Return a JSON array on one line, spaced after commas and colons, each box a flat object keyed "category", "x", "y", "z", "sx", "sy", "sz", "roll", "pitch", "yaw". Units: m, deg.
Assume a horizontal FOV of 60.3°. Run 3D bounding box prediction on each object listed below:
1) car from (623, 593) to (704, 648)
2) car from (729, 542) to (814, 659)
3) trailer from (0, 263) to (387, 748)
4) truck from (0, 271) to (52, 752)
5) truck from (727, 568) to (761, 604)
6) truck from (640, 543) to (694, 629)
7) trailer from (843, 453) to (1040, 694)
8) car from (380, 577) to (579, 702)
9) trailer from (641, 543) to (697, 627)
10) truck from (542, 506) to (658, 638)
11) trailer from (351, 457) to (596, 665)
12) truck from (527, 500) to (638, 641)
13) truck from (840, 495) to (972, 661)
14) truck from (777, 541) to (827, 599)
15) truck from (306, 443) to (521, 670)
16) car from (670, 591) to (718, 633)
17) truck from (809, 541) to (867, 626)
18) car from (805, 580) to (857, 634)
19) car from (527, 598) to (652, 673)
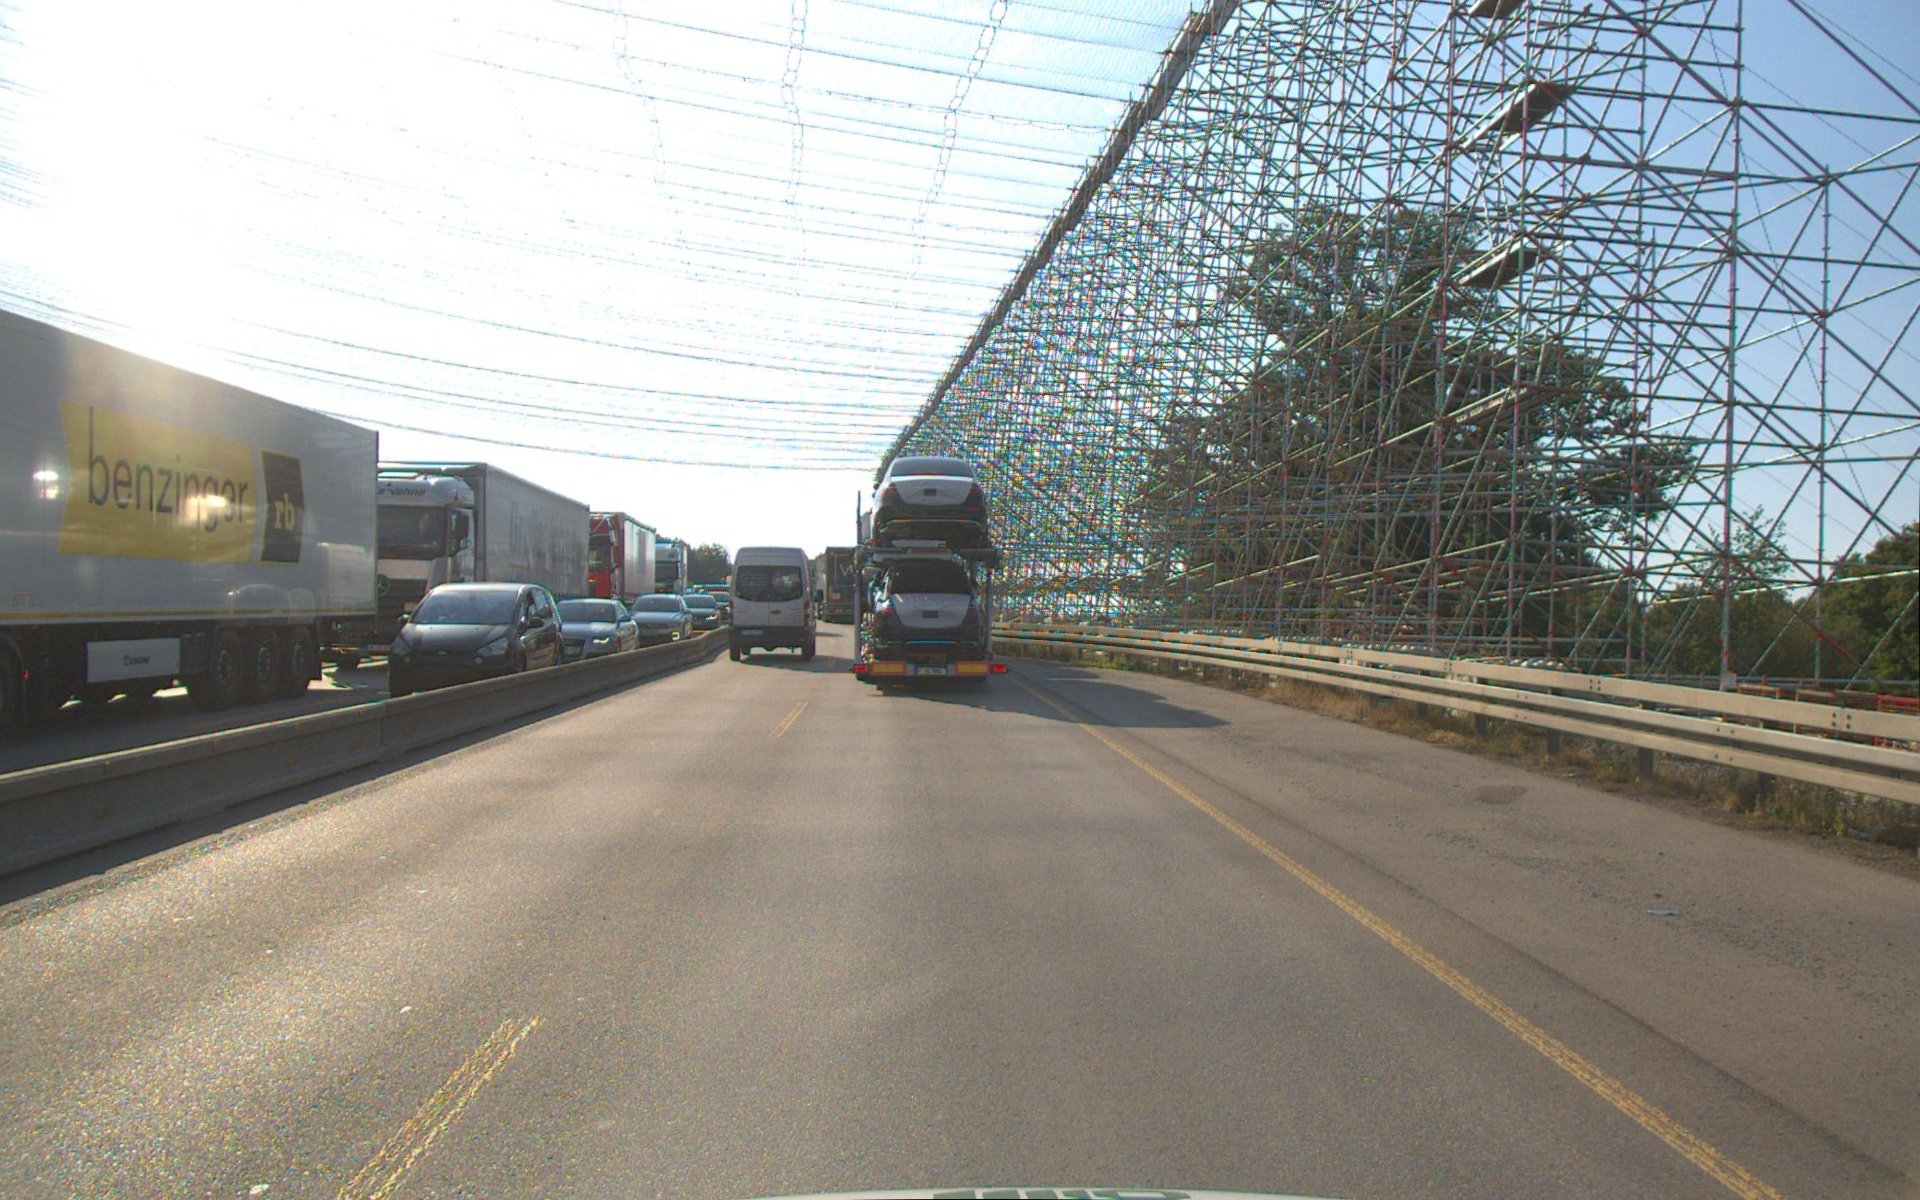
[{"category": "car", "x": -8.656, "y": 0.568, "z": 48.656, "sx": 1.698, "sy": 1.464, "sz": 4.835, "roll": 3, "pitch": 0, "yaw": -3}, {"category": "car", "x": -4.527, "y": 0.034, "z": 39.868, "sx": 1.919, "sy": 2.667, "sz": 3.995, "roll": 0, "pitch": -1, "yaw": -6}, {"category": "trailer", "x": -10.303, "y": -0.846, "z": 19.740, "sx": 2.711, "sy": 4.409, "sz": 13.873, "roll": 0, "pitch": 0, "yaw": -3}, {"category": "truck", "x": -9.976, "y": -0.814, "z": 12.893, "sx": 2.690, "sy": 4.375, "sz": 5.930, "roll": 0, "pitch": 0, "yaw": -3}, {"category": "truck", "x": -23.794, "y": -1.573, "z": 181.619, "sx": 2.572, "sy": 3.788, "sz": 9.624, "roll": 2, "pitch": 0, "yaw": -14}, {"category": "truck", "x": -15.284, "y": -0.696, "z": 86.565, "sx": 2.613, "sy": 4.304, "sz": 6.091, "roll": 0, "pitch": 0, "yaw": -9}, {"category": "trailer", "x": -0.809, "y": -0.383, "z": 33.522, "sx": 2.813, "sy": 3.790, "sz": 14.930, "roll": 0, "pitch": 0, "yaw": -5}, {"category": "car", "x": -7.085, "y": 0.530, "z": 24.894, "sx": 1.717, "sy": 1.686, "sz": 4.860, "roll": 0, "pitch": 0, "yaw": -2}, {"category": "trailer", "x": -16.282, "y": -0.829, "z": 93.279, "sx": 2.604, "sy": 4.307, "sz": 13.893, "roll": 2, "pitch": 0, "yaw": -8}, {"category": "truck", "x": -12.734, "y": -0.866, "z": 59.588, "sx": 2.734, "sy": 4.214, "sz": 13.786, "roll": 0, "pitch": 0, "yaw": -7}, {"category": "trailer", "x": -11.422, "y": -0.773, "z": 40.638, "sx": 2.743, "sy": 4.214, "sz": 13.955, "roll": 0, "pitch": 0, "yaw": -4}, {"category": "truck", "x": -11.947, "y": -0.877, "z": 52.908, "sx": 2.734, "sy": 4.214, "sz": 6.669, "roll": 0, "pitch": 0, "yaw": -7}, {"category": "truck", "x": -1.485, "y": -0.482, "z": 41.193, "sx": 2.826, "sy": 3.767, "sz": 7.316, "roll": 0, "pitch": 0, "yaw": -5}, {"category": "truck", "x": -12.686, "y": -2.304, "z": 132.095, "sx": 3.616, "sy": 4.294, "sz": 13.651, "roll": -2, "pitch": 1, "yaw": -6}, {"category": "truck", "x": -10.973, "y": -0.800, "z": 33.795, "sx": 2.732, "sy": 4.214, "sz": 5.929, "roll": 0, "pitch": 0, "yaw": -4}, {"category": "car", "x": -10.272, "y": 0.438, "z": 64.012, "sx": 1.619, "sy": 1.489, "sz": 4.393, "roll": 2, "pitch": 0, "yaw": -7}, {"category": "truck", "x": -7.006, "y": -0.922, "z": 93.833, "sx": 2.680, "sy": 4.462, "sz": 11.504, "roll": 1, "pitch": 0, "yaw": -7}, {"category": "car", "x": -5.159, "y": 0.287, "z": 66.675, "sx": 1.954, "sy": 2.049, "sz": 3.998, "roll": 1, "pitch": 0, "yaw": -3}, {"category": "car", "x": -7.668, "y": 0.690, "z": 34.647, "sx": 1.697, "sy": 1.401, "sz": 4.888, "roll": 2, "pitch": 0, "yaw": -3}]
